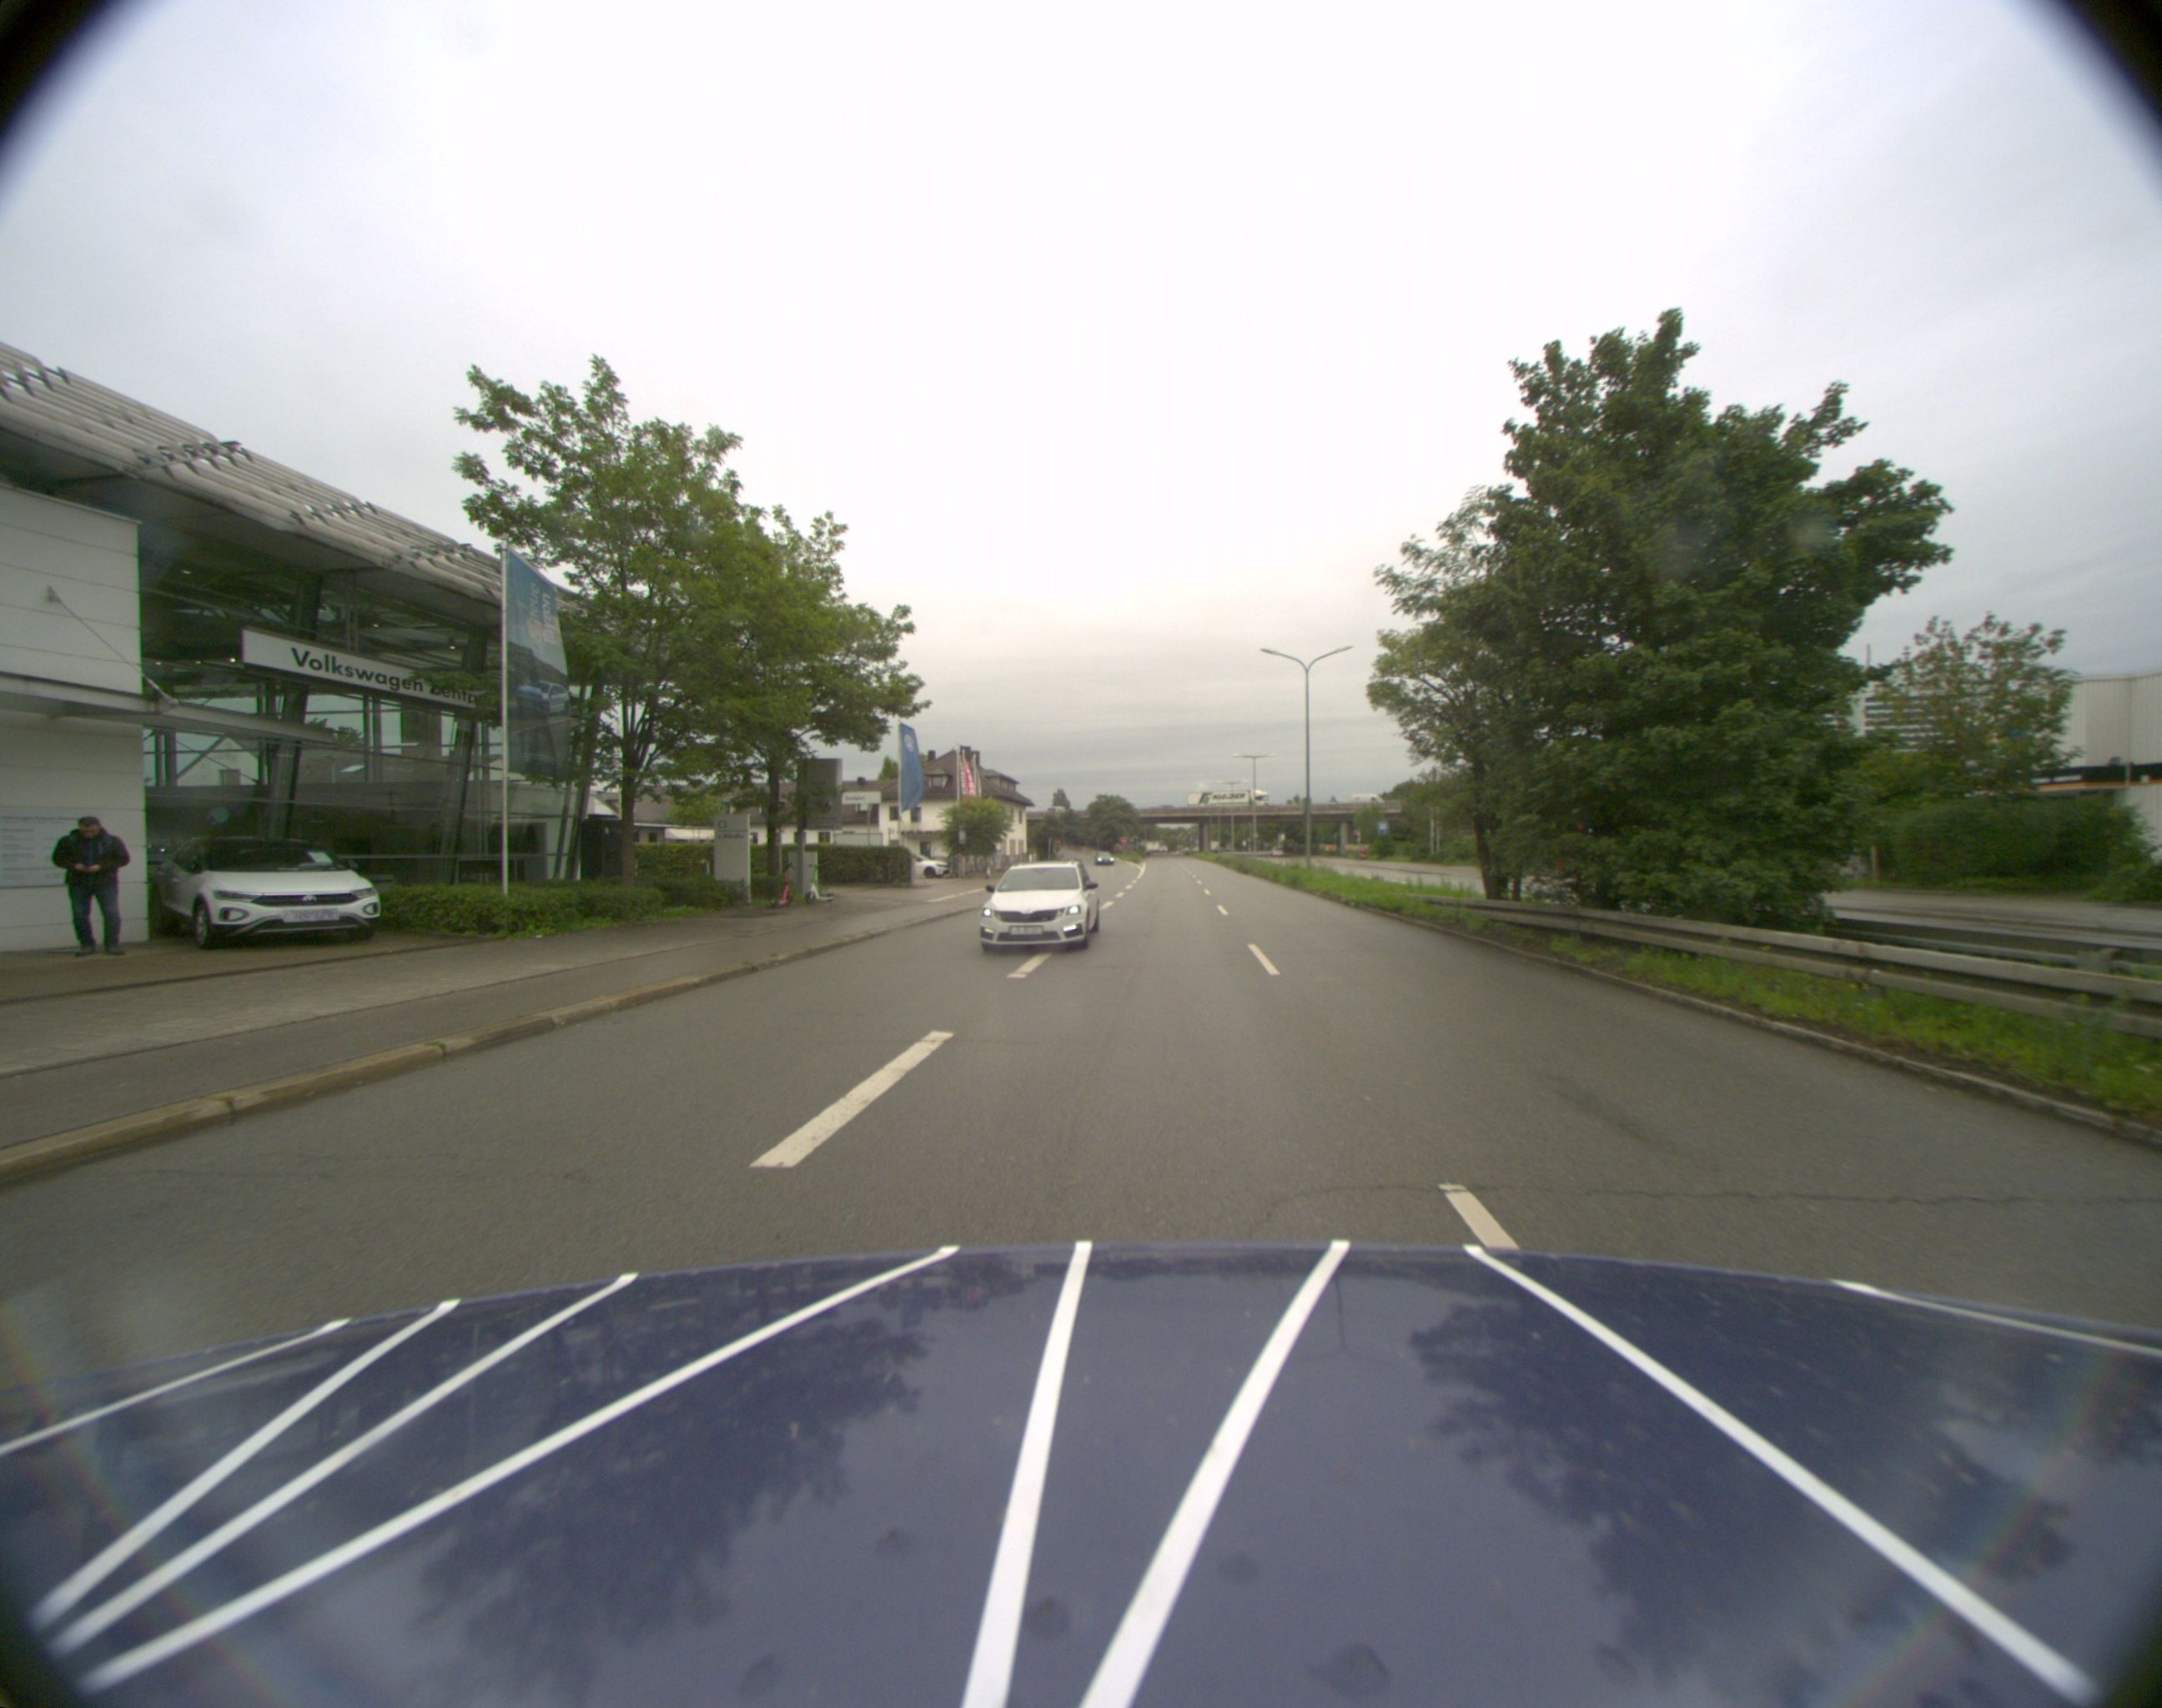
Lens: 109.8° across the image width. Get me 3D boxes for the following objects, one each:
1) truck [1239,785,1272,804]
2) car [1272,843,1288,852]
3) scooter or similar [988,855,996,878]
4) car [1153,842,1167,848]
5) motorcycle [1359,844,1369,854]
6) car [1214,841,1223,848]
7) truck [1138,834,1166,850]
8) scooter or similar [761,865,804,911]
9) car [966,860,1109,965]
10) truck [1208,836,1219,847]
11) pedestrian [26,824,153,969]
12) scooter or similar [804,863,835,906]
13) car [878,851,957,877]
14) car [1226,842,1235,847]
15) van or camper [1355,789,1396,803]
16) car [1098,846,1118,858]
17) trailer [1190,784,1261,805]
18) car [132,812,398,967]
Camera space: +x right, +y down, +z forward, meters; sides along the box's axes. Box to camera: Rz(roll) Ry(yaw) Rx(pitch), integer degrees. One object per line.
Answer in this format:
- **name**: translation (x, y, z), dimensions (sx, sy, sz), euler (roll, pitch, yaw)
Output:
- **truck**: translation (31.458, -10.726, 137.133), dimensions (2.602, 3.228, 5.179), euler (-3, 3, -45)
- **car**: translation (33.923, -1.129, 129.826), dimensions (1.997, 1.563, 4.576), euler (0, 1, 7)
- **scooter or similar**: translation (-5.184, 0.724, 44.123), dimensions (0.398, 1.216, 1.638), euler (2, 2, -6)
- **car**: translation (25.421, -2.916, 243.997), dimensions (1.979, 1.573, 4.579), euler (2, -2, -36)
- **motorcycle**: translation (32.914, -0.607, 88.390), dimensions (0.534, 1.169, 2.196), euler (0, 1, 6)
- **car**: translation (35.940, -2.569, 198.663), dimensions (1.973, 1.574, 4.591), euler (2, 2, 5)
- **truck**: translation (23.134, -3.890, 247.733), dimensions (2.805, 4.567, 9.570), euler (-1, 4, -42)
- **scooter or similar**: translation (-8.206, 0.907, 20.945), dimensions (0.497, 1.198, 1.430), euler (3, 0, 4)
- **car**: translation (-0.585, 0.924, 13.951), dimensions (1.914, 1.439, 4.557), euler (-2, 1, 5)
- **truck**: translation (37.495, -3.575, 215.025), dimensions (2.258, 2.960, 7.235), euler (2, 0, 4)
- **pedestrian**: translation (-12.771, 0.516, 9.823), dimensions (0.808, 1.766, 0.714), euler (-1, 1, -38)
- **scooter or similar**: translation (-7.967, 0.912, 23.197), dimensions (0.497, 1.198, 1.429), euler (2, 1, -3)
- **car**: translation (-9.239, 0.555, 43.139), dimensions (4.022, 1.452, 1.794), euler (0, 1, 7)
- **car**: translation (44.285, -2.780, 224.726), dimensions (1.973, 1.389, 4.816), euler (1, 2, 4)
- **van or camper**: translation (47.071, -9.190, 121.525), dimensions (2.336, 2.002, 5.490), euler (-2, 3, -45)
- **car**: translation (3.028, -0.261, 86.235), dimensions (1.710, 1.281, 3.997), euler (0, 1, -6)
- **trailer**: translation (26.761, -10.951, 141.947), dimensions (2.671, 3.280, 14.018), euler (-3, 3, -45)
- **car**: translation (-12.799, 0.396, 11.881), dimensions (4.248, 2.002, 1.967), euler (2, 2, 31)
